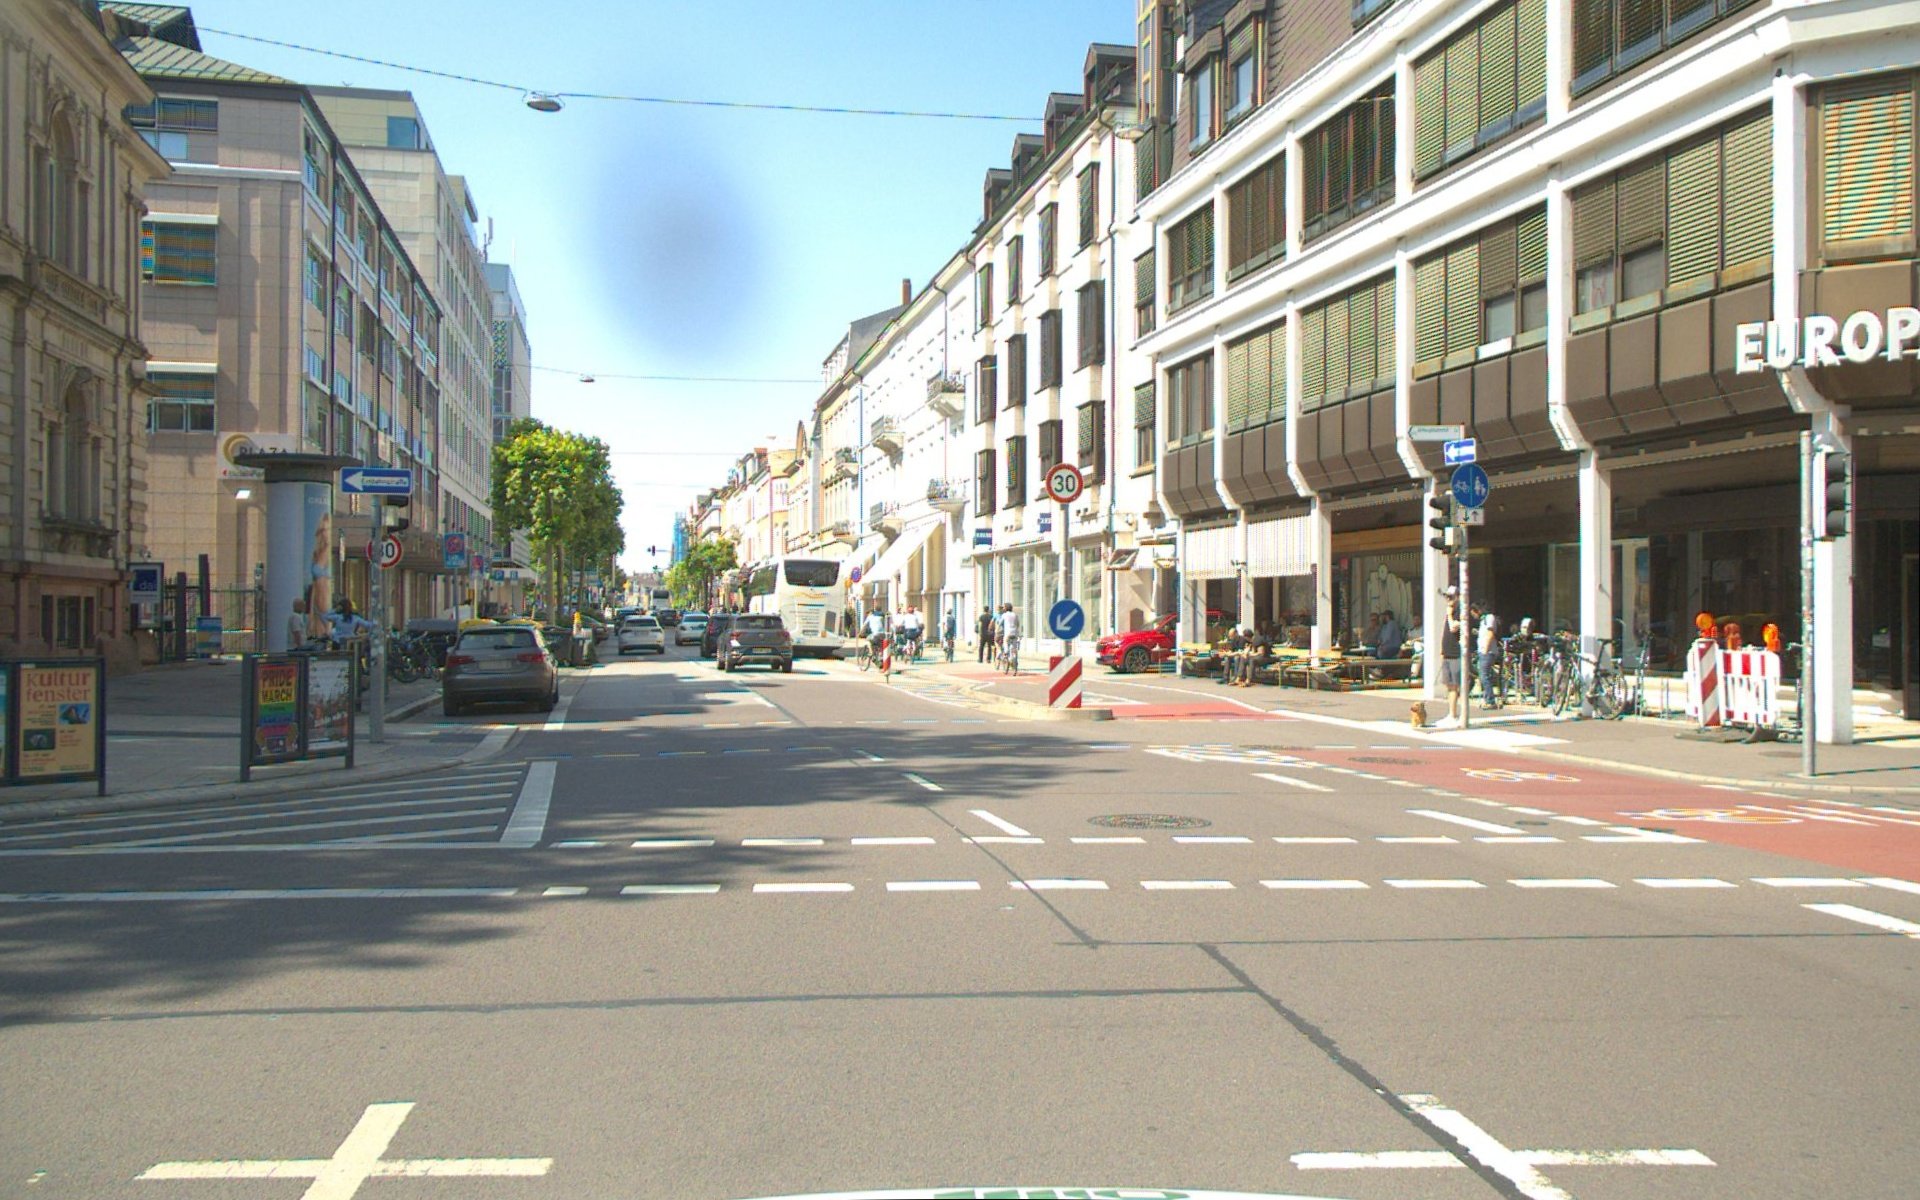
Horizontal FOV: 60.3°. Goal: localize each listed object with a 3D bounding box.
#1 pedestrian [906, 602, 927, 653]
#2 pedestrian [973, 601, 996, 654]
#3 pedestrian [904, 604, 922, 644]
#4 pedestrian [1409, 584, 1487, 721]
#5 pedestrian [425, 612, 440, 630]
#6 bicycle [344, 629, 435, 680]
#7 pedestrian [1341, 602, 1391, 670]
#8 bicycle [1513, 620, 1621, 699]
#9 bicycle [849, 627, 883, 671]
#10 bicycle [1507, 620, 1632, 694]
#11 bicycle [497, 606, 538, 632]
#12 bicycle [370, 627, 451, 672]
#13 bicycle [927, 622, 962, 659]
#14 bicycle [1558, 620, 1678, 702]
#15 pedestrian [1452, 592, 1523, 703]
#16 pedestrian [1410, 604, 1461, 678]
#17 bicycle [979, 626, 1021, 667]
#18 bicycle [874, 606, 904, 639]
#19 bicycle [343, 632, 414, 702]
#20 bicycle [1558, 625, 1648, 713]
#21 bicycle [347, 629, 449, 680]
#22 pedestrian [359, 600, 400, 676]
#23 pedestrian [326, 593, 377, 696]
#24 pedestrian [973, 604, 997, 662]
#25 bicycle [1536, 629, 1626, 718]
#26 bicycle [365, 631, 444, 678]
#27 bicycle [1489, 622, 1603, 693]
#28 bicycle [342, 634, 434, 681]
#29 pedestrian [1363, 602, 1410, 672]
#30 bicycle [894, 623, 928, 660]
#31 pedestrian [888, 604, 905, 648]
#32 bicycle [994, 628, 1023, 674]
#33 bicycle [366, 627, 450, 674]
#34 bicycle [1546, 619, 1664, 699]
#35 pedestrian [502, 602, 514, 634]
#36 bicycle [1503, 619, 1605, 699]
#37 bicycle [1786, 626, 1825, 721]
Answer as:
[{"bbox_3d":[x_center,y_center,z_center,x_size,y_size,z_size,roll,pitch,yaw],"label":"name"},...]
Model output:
[{"bbox_3d":[-1.532,0.960,57.768,0.609,1.750,0.833,0,-1,-12],"label":"pedestrian"},{"bbox_3d":[0.812,0.906,54.946,0.680,1.715,0.835,-1,-1,-3],"label":"pedestrian"},{"bbox_3d":[-1.987,0.999,69.572,0.633,1.646,0.820,-1,-2,-9],"label":"pedestrian"},{"bbox_3d":[6.767,0.725,22.973,0.816,1.868,0.696,-1,-2,-3],"label":"pedestrian"},{"bbox_3d":[-25.778,1.019,80.799,0.556,0.823,0.772,5,-1,-12],"label":"pedestrian"},{"bbox_3d":[-13.248,1.274,38.414,1.933,1.140,0.552,2,-2,-23],"label":"bicycle"},{"bbox_3d":[8.662,0.769,35.318,0.799,1.421,0.694,0,-2,-14],"label":"pedestrian"},{"bbox_3d":[9.223,0.899,25.142,1.540,1.140,0.277,-2,0,-5],"label":"bicycle"},{"bbox_3d":[-2.698,1.378,47.216,0.653,1.140,2.237,2,0,-11],"label":"bicycle"},{"bbox_3d":[9.698,0.892,26.301,2.202,1.140,0.276,0,0,-20],"label":"bicycle"},{"bbox_3d":[-23.154,0.990,86.523,2.034,1.311,0.365,3,-2,-20],"label":"bicycle"},{"bbox_3d":[-14.131,1.266,42.541,1.935,1.140,0.507,1,-2,-16],"label":"bicycle"},{"bbox_3d":[-0.513,1.273,52.410,0.609,1.118,2.344,0,-1,-13],"label":"bicycle"},{"bbox_3d":[9.666,0.890,24.297,1.683,1.140,0.277,-2,0,-5],"label":"bicycle"},{"bbox_3d":[8.236,0.736,25.848,0.816,1.692,0.696,-1,-2,-3],"label":"pedestrian"},{"bbox_3d":[9.326,0.804,32.452,0.699,1.421,0.694,0,-2,-13],"label":"pedestrian"},{"bbox_3d":[1.091,1.274,45.841,0.609,1.118,2.344,0,-1,-13],"label":"bicycle"},{"bbox_3d":[-2.433,0.762,56.484,0.609,1.118,2.344,0,-1,-13],"label":"bicycle"},{"bbox_3d":[-9.976,1.151,28.461,0.420,1.140,2.242,1,-2,-1],"label":"bicycle"},{"bbox_3d":[9.080,0.948,23.432,0.271,1.140,2.241,0,0,-4],"label":"bicycle"},{"bbox_3d":[-13.272,1.283,39.078,2.205,1.140,0.552,2,-2,-23],"label":"bicycle"},{"bbox_3d":[-13.679,0.886,38.988,0.875,1.755,0.744,0,-1,-19],"label":"pedestrian"},{"bbox_3d":[-10.378,0.758,28.226,0.682,1.725,0.689,0,-2,-9],"label":"pedestrian"},{"bbox_3d":[0.766,1.019,51.014,0.609,1.750,0.833,0,-1,-9],"label":"pedestrian"},{"bbox_3d":[8.721,1.006,23.304,0.271,1.140,2.241,0,0,-4],"label":"bicycle"},{"bbox_3d":[-13.850,1.359,41.248,1.813,1.092,0.554,-1,-2,-16],"label":"bicycle"},{"bbox_3d":[9.541,0.917,26.898,2.208,1.116,0.275,0,0,-26],"label":"bicycle"},{"bbox_3d":[-13.043,1.310,37.721,1.936,1.035,0.666,2,-2,-23],"label":"bicycle"},{"bbox_3d":[8.896,0.773,34.509,0.699,1.421,0.694,0,-2,-13],"label":"pedestrian"},{"bbox_3d":[-1.527,1.280,51.451,0.609,1.118,2.344,0,-1,-13],"label":"bicycle"},{"bbox_3d":[-2.643,1.103,68.644,0.563,1.810,1.017,0,-2,-9],"label":"pedestrian"},{"bbox_3d":[1.241,1.308,42.983,0.582,1.140,1.799,0,0,-4],"label":"bicycle"},{"bbox_3d":[-13.991,1.289,41.959,1.942,1.140,0.507,2,-2,-16],"label":"bicycle"},{"bbox_3d":[9.627,0.879,24.691,1.683,1.140,0.277,-2,0,-5],"label":"bicycle"},{"bbox_3d":[-23.643,0.943,86.508,0.557,1.686,0.633,1,-1,-18],"label":"pedestrian"},{"bbox_3d":[9.155,0.904,25.503,1.515,1.228,0.277,0,0,-5],"label":"bicycle"},{"bbox_3d":[10.377,0.889,20.310,0.302,1.084,1.471,-2,0,23],"label":"bicycle"}]
